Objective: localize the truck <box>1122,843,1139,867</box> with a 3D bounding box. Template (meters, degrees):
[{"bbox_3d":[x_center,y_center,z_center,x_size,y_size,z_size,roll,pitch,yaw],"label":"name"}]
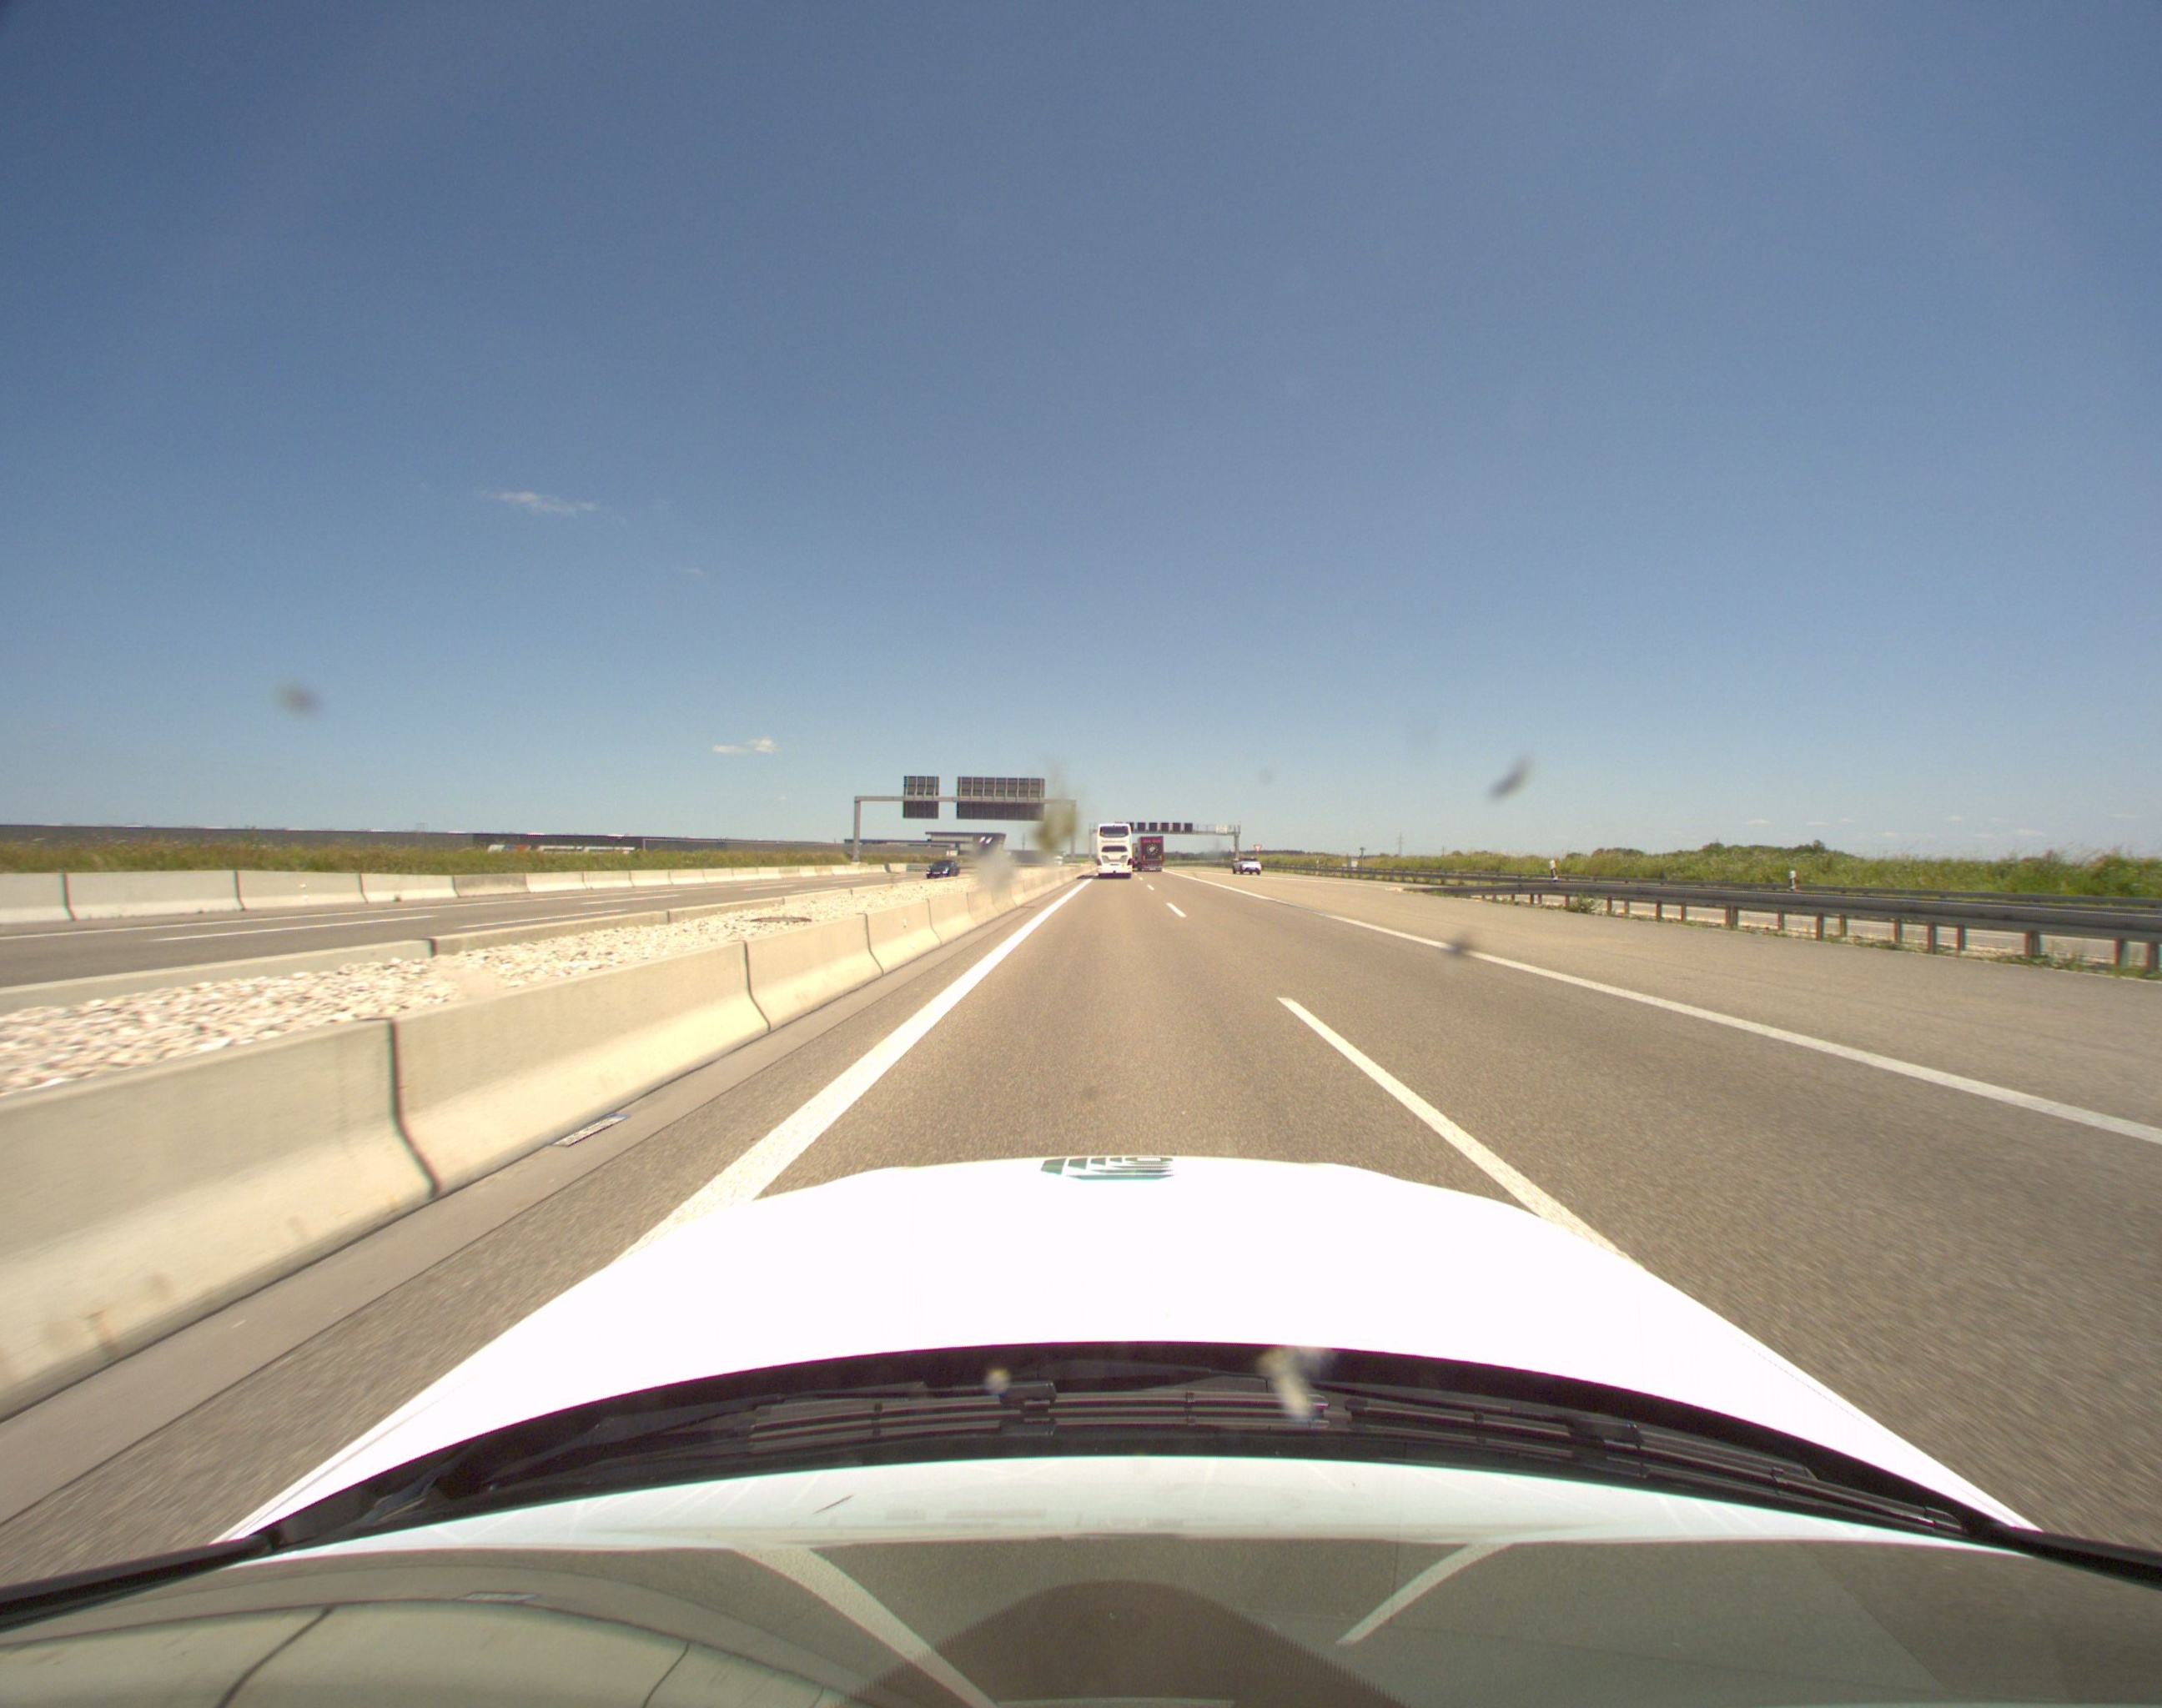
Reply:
[{"bbox_3d":[7.969,0.141,131.847,2.428,3.789,6.495,0,0,2],"label":"truck"}]

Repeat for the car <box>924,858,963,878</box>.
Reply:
[{"bbox_3d":[-10.221,1.026,61.006,1.836,1.382,4.756,0,0,4],"label":"car"}]

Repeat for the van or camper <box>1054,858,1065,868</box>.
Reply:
[{"bbox_3d":[-5.241,2.176,197.804,2.310,2.558,6.318,0,0,2],"label":"van or camper"}]

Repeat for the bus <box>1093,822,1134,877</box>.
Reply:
[{"bbox_3d":[2.434,-0.362,62.878,2.970,3.974,9.107,0,0,1],"label":"bus"}]

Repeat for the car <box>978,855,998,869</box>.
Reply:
[{"bbox_3d":[-12.314,0.999,108.066,1.839,1.823,4.923,0,0,2],"label":"car"}]

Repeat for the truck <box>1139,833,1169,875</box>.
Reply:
[{"bbox_3d":[8.589,0.169,97.264,3.364,4.464,13.579,0,-2,4],"label":"truck"}]

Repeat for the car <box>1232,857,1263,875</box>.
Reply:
[{"bbox_3d":[15.038,1.059,73.765,1.886,1.529,4.258,0,0,-2],"label":"car"}]
